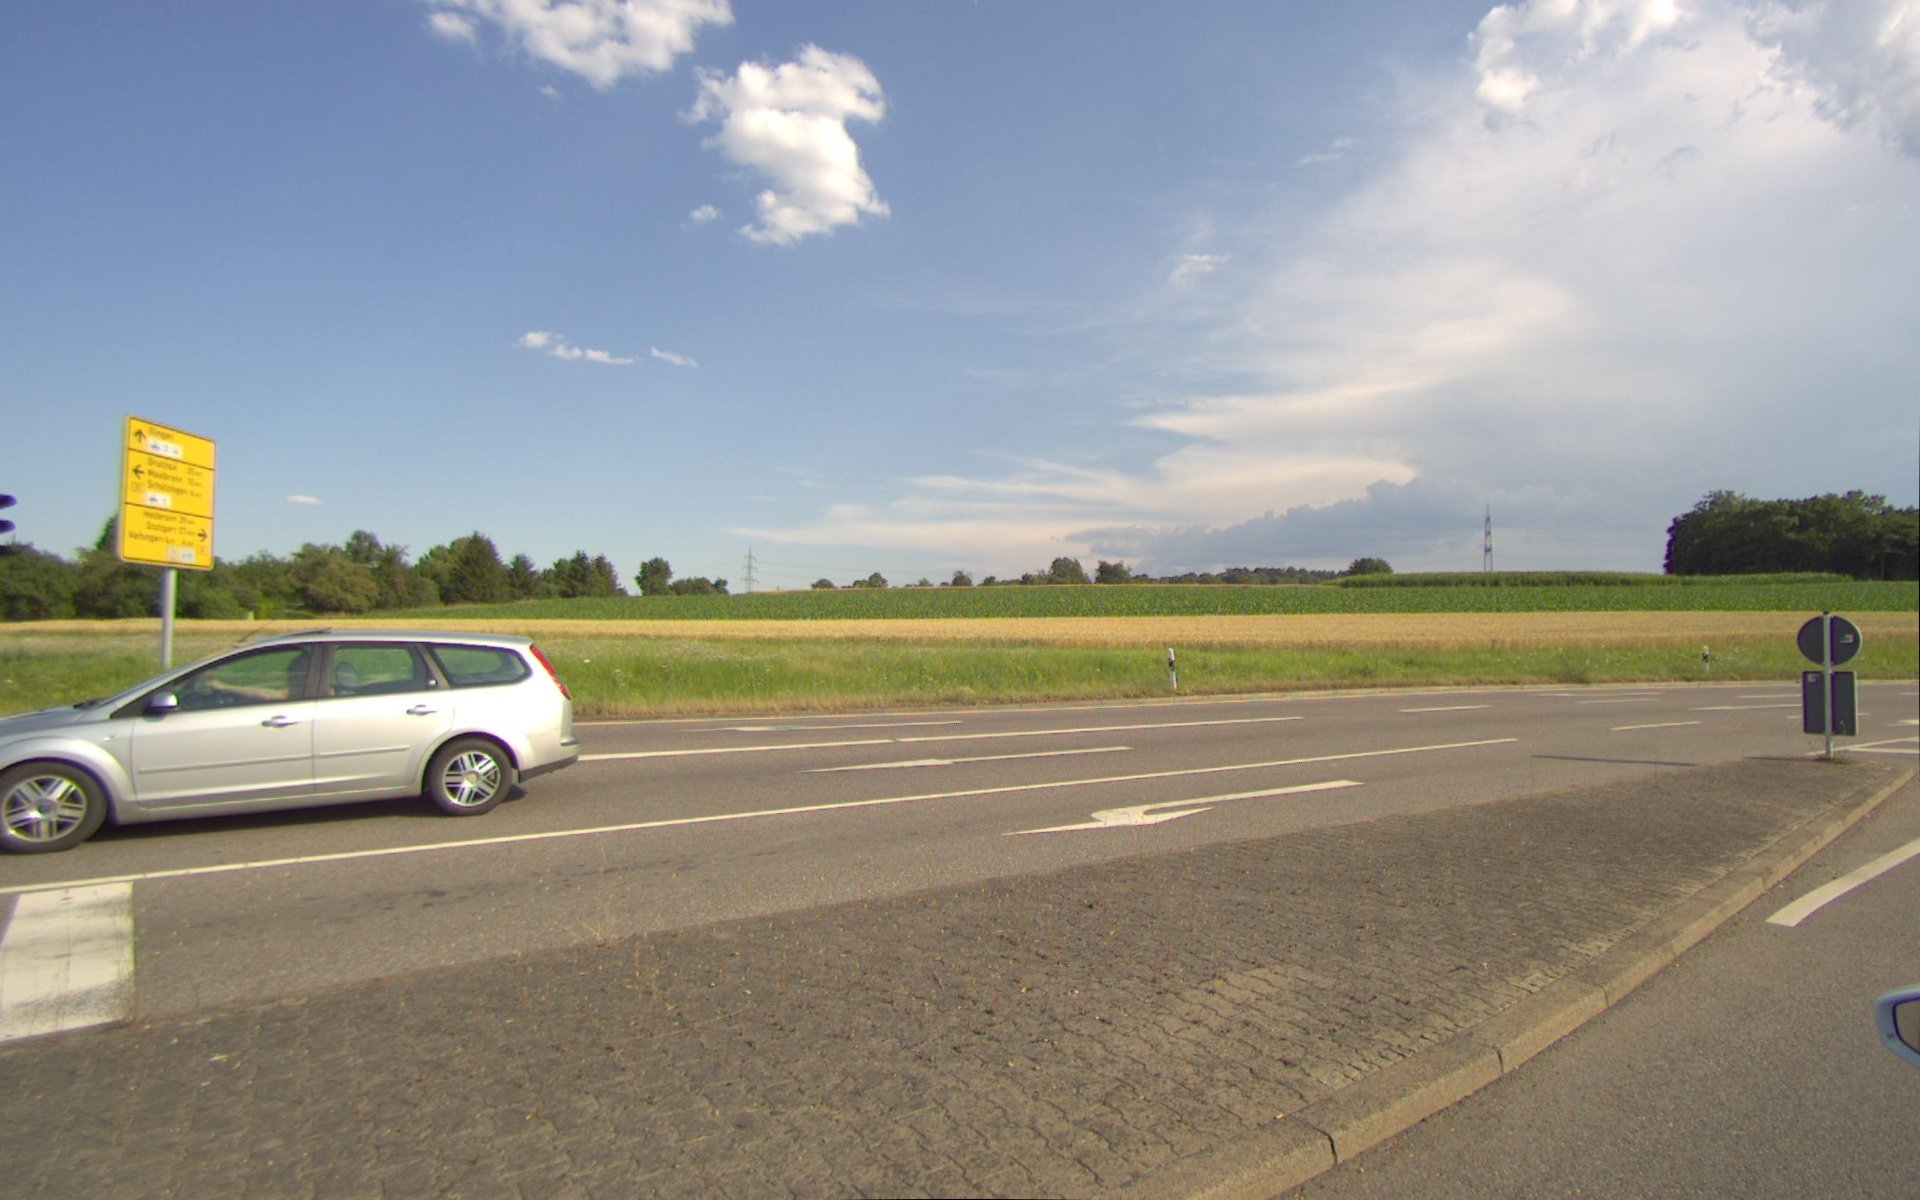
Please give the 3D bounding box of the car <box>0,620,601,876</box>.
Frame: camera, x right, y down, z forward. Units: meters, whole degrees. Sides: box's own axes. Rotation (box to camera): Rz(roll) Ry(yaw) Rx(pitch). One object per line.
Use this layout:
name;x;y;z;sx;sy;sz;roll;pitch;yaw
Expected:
car;-5.399;1.012;8.267;4.306;1.549;1.804;-1;0;-33
